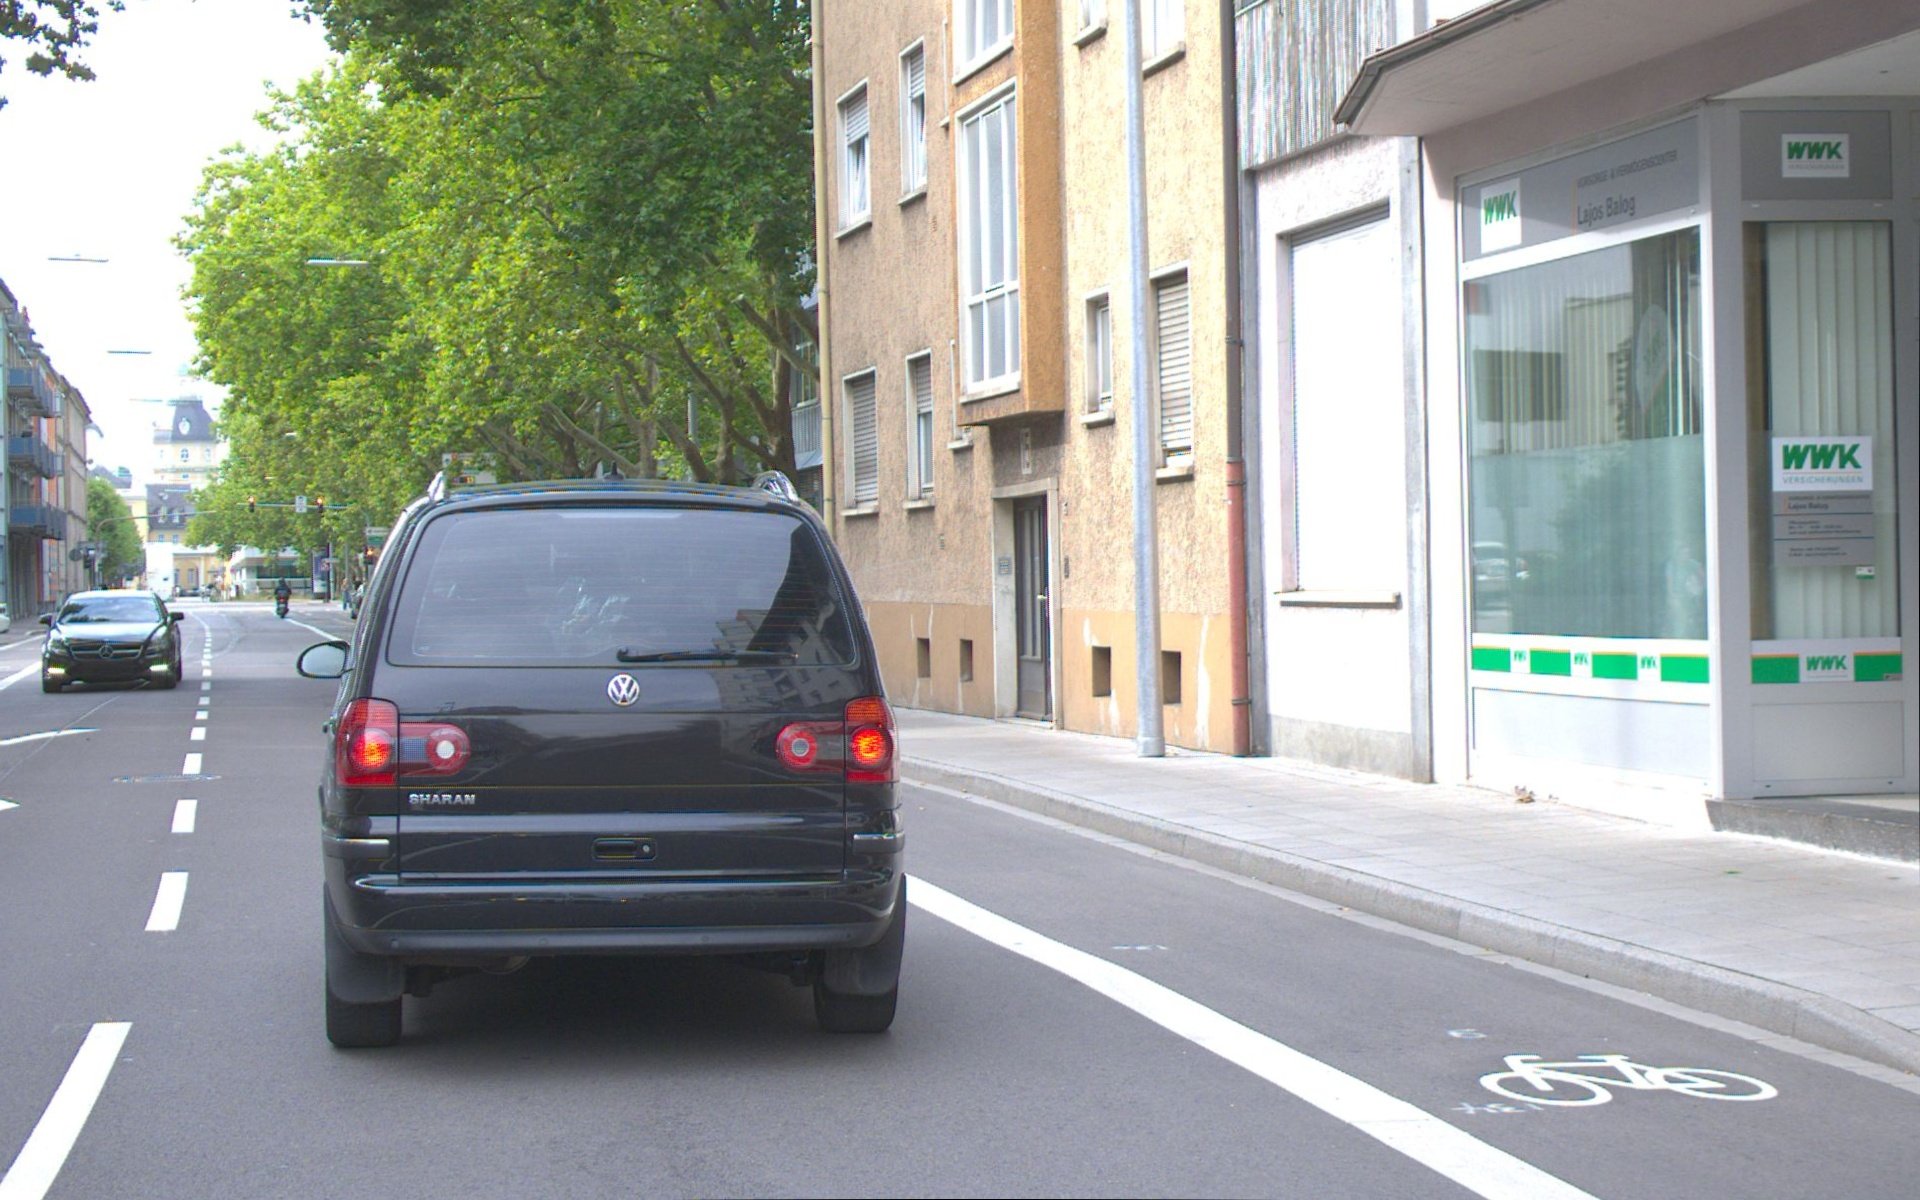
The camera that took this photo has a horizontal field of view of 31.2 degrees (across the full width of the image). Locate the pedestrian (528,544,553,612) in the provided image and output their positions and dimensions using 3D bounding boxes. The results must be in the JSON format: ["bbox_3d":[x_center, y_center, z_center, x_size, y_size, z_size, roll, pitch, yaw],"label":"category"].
[{"bbox_3d":[-12.264,-0.641,100.445,0.642,1.968,0.692,1,1,-11],"label":"pedestrian"}]

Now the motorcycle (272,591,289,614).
[{"bbox_3d":[-28.040,0.097,141.901,0.625,0.927,2.404,-1,1,-12],"label":"motorcycle"}]

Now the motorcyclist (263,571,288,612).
[{"bbox_3d":[-28.277,-0.355,142.076,0.952,1.654,1.256,-1,0,-13],"label":"motorcyclist"}]

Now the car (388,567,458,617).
[{"bbox_3d":[-15.539,-0.235,99.373,1.675,1.389,4.462,-1,0,-13],"label":"car"}]

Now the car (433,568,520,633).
[{"bbox_3d":[-11.437,0.004,81.150,1.629,1.465,4.319,-1,0,-13],"label":"car"}]

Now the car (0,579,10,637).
[{"bbox_3d":[-26.505,0.189,89.488,3.342,1.492,1.597,1,0,-14],"label":"car"}]

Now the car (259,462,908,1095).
[{"bbox_3d":[-1.324,0.455,11.523,1.812,1.760,3.739,0,1,-9],"label":"car"}]

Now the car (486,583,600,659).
[{"bbox_3d":[-8.026,0.389,65.861,1.675,1.389,4.462,-1,0,-13],"label":"car"}]

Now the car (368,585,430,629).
[{"bbox_3d":[-18.711,0.222,114.550,1.641,1.409,3.417,-1,1,-16],"label":"car"}]

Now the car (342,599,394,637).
[{"bbox_3d":[-22.312,0.671,129.505,1.675,1.389,3.880,-1,0,-13],"label":"car"}]

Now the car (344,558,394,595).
[{"bbox_3d":[-23.139,-0.913,134.552,1.675,1.389,3.880,-1,0,-13],"label":"car"}]

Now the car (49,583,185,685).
[{"bbox_3d":[-12.415,0.462,50.820,1.810,1.403,4.610,-1,1,-12],"label":"car"}]
